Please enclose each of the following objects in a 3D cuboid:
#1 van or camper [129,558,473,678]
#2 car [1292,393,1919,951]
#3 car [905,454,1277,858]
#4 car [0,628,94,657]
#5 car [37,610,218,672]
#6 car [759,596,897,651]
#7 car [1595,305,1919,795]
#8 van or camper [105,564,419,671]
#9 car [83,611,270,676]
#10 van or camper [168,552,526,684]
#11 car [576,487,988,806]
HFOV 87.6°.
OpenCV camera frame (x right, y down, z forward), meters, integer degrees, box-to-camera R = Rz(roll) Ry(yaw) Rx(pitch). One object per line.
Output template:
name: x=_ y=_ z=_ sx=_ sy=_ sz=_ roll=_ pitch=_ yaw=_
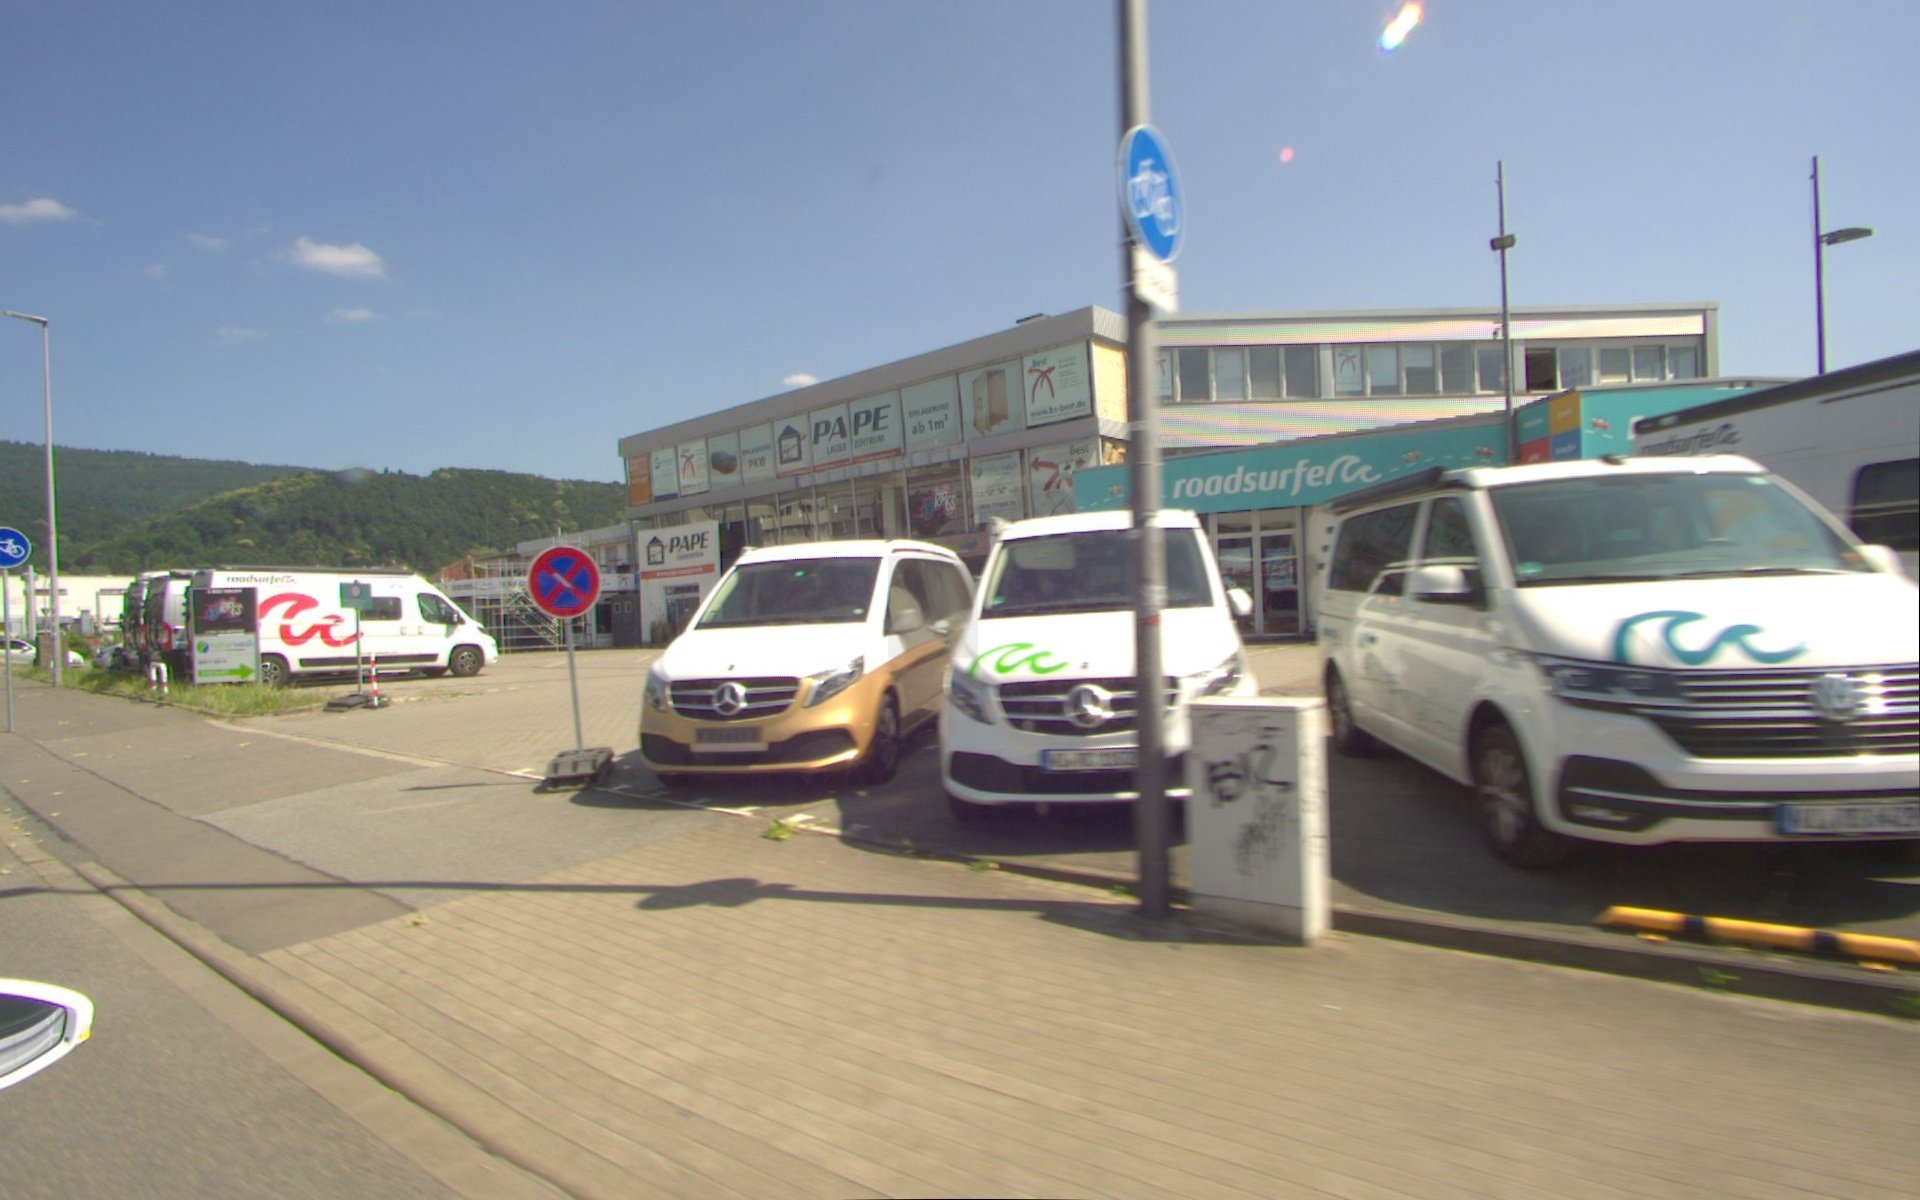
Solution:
van or camper: x=-16.470 y=0.390 z=25.348 sx=3.711 sy=2.595 sz=6.569 roll=-1 pitch=0 yaw=42
car: x=3.635 y=0.253 z=6.217 sx=1.986 sy=2.027 sz=5.157 roll=-2 pitch=0 yaw=7
car: x=1.155 y=0.264 z=7.754 sx=1.894 sy=2.041 sz=5.145 roll=-1 pitch=1 yaw=11
car: x=-45.799 y=2.123 z=49.896 sx=3.633 sy=1.327 sz=1.658 roll=-1 pitch=0 yaw=-8
car: x=-26.894 y=1.295 z=32.437 sx=1.957 sy=1.774 sz=4.276 roll=-3 pitch=-2 yaw=42
car: x=-3.998 y=0.671 z=30.830 sx=1.870 sy=1.538 sz=3.966 roll=-1 pitch=0 yaw=41
car: x=6.549 y=-0.301 z=5.786 sx=2.262 sy=2.753 sz=6.155 roll=-1 pitch=0 yaw=5
van or camper: x=-19.165 y=0.422 z=27.793 sx=3.363 sy=2.595 sz=6.569 roll=-1 pitch=0 yaw=42
car: x=-24.221 y=1.311 z=31.068 sx=1.957 sy=1.774 sz=4.276 roll=-3 pitch=-2 yaw=42
van or camper: x=-13.903 y=0.356 z=23.129 sx=2.942 sy=2.595 sz=6.468 roll=-1 pitch=0 yaw=42
car: x=-1.200 y=0.358 z=9.457 sx=2.011 sy=2.122 sz=5.154 roll=-3 pitch=-1 yaw=11
